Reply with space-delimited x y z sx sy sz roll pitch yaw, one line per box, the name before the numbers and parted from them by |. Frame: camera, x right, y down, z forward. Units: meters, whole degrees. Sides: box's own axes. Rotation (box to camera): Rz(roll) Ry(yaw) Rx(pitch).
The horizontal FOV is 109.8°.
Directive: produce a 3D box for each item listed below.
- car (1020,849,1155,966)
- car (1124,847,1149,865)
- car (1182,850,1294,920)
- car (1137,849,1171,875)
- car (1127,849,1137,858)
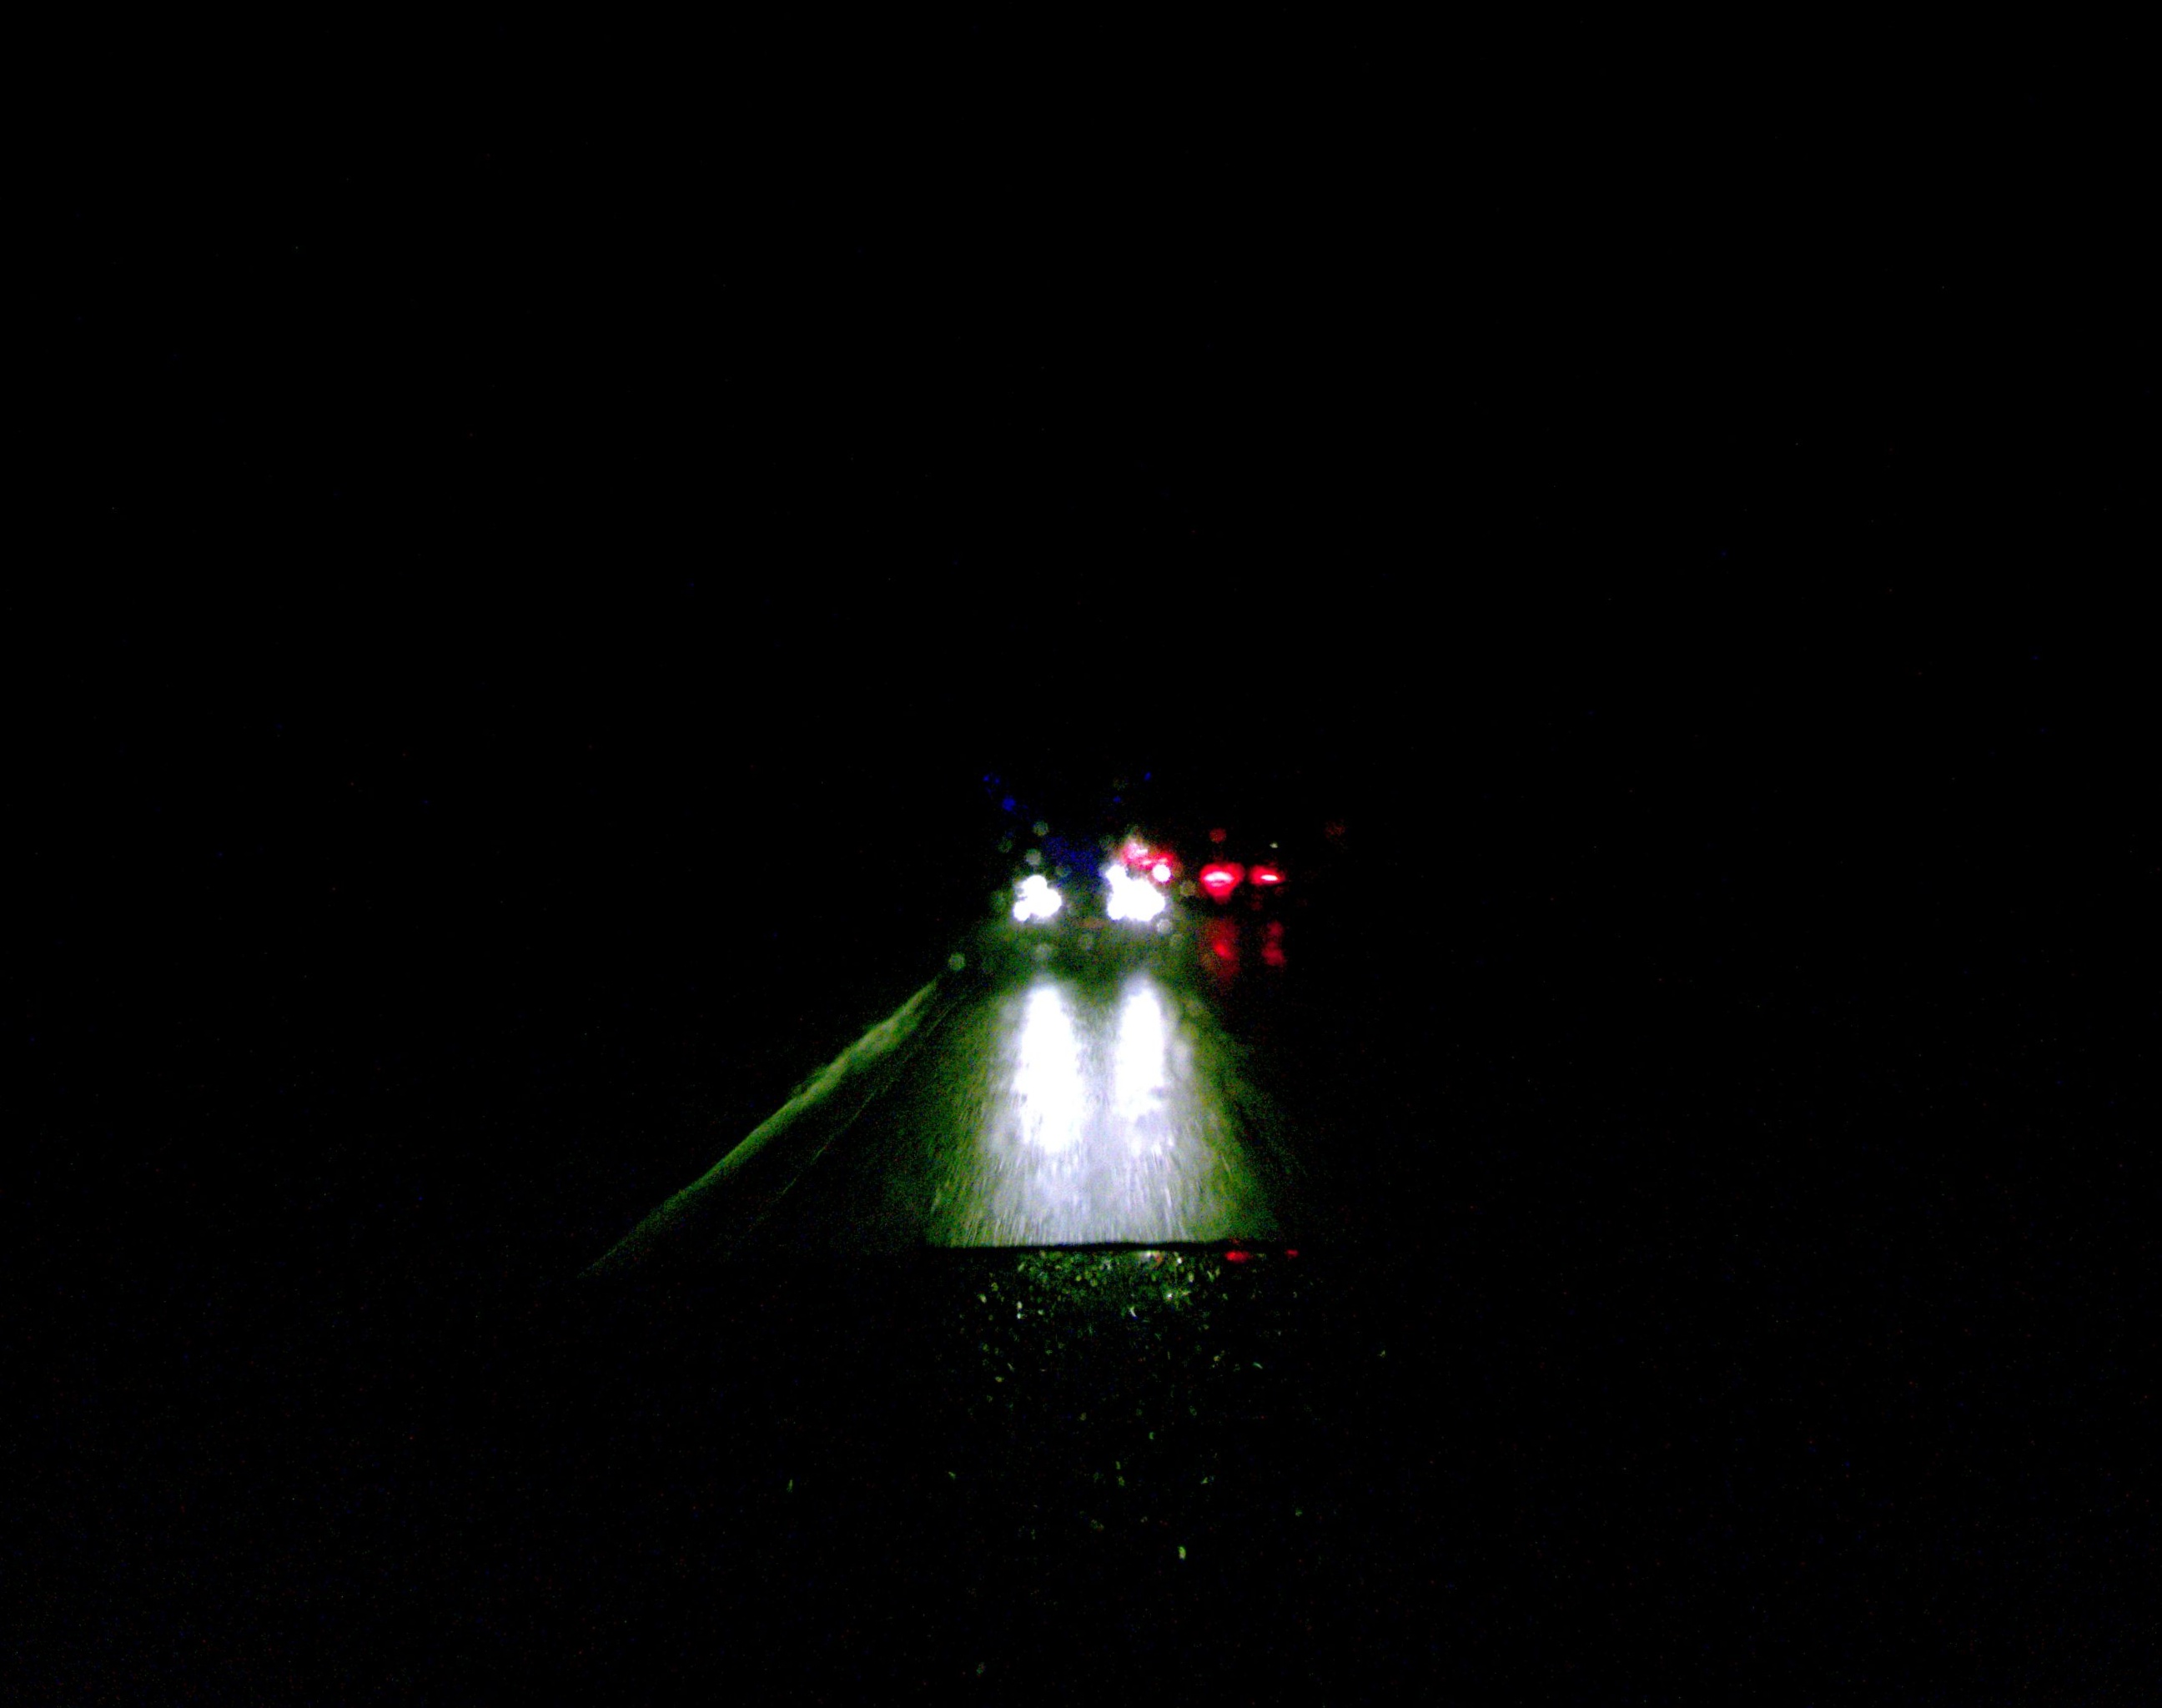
car | 0.198 0.747 12.695 1.845 1.565 4.000 -2 1 3
car | 5.127 0.186 70.930 1.956 1.646 4.123 0 1 -1
car | 3.857 0.700 19.431 1.908 1.461 4.274 -3 1 0
car | 4.763 0.508 50.167 1.842 1.537 4.257 -2 0 0
car | 9.425 -0.167 141.164 1.845 1.565 4.000 -2 1 3
